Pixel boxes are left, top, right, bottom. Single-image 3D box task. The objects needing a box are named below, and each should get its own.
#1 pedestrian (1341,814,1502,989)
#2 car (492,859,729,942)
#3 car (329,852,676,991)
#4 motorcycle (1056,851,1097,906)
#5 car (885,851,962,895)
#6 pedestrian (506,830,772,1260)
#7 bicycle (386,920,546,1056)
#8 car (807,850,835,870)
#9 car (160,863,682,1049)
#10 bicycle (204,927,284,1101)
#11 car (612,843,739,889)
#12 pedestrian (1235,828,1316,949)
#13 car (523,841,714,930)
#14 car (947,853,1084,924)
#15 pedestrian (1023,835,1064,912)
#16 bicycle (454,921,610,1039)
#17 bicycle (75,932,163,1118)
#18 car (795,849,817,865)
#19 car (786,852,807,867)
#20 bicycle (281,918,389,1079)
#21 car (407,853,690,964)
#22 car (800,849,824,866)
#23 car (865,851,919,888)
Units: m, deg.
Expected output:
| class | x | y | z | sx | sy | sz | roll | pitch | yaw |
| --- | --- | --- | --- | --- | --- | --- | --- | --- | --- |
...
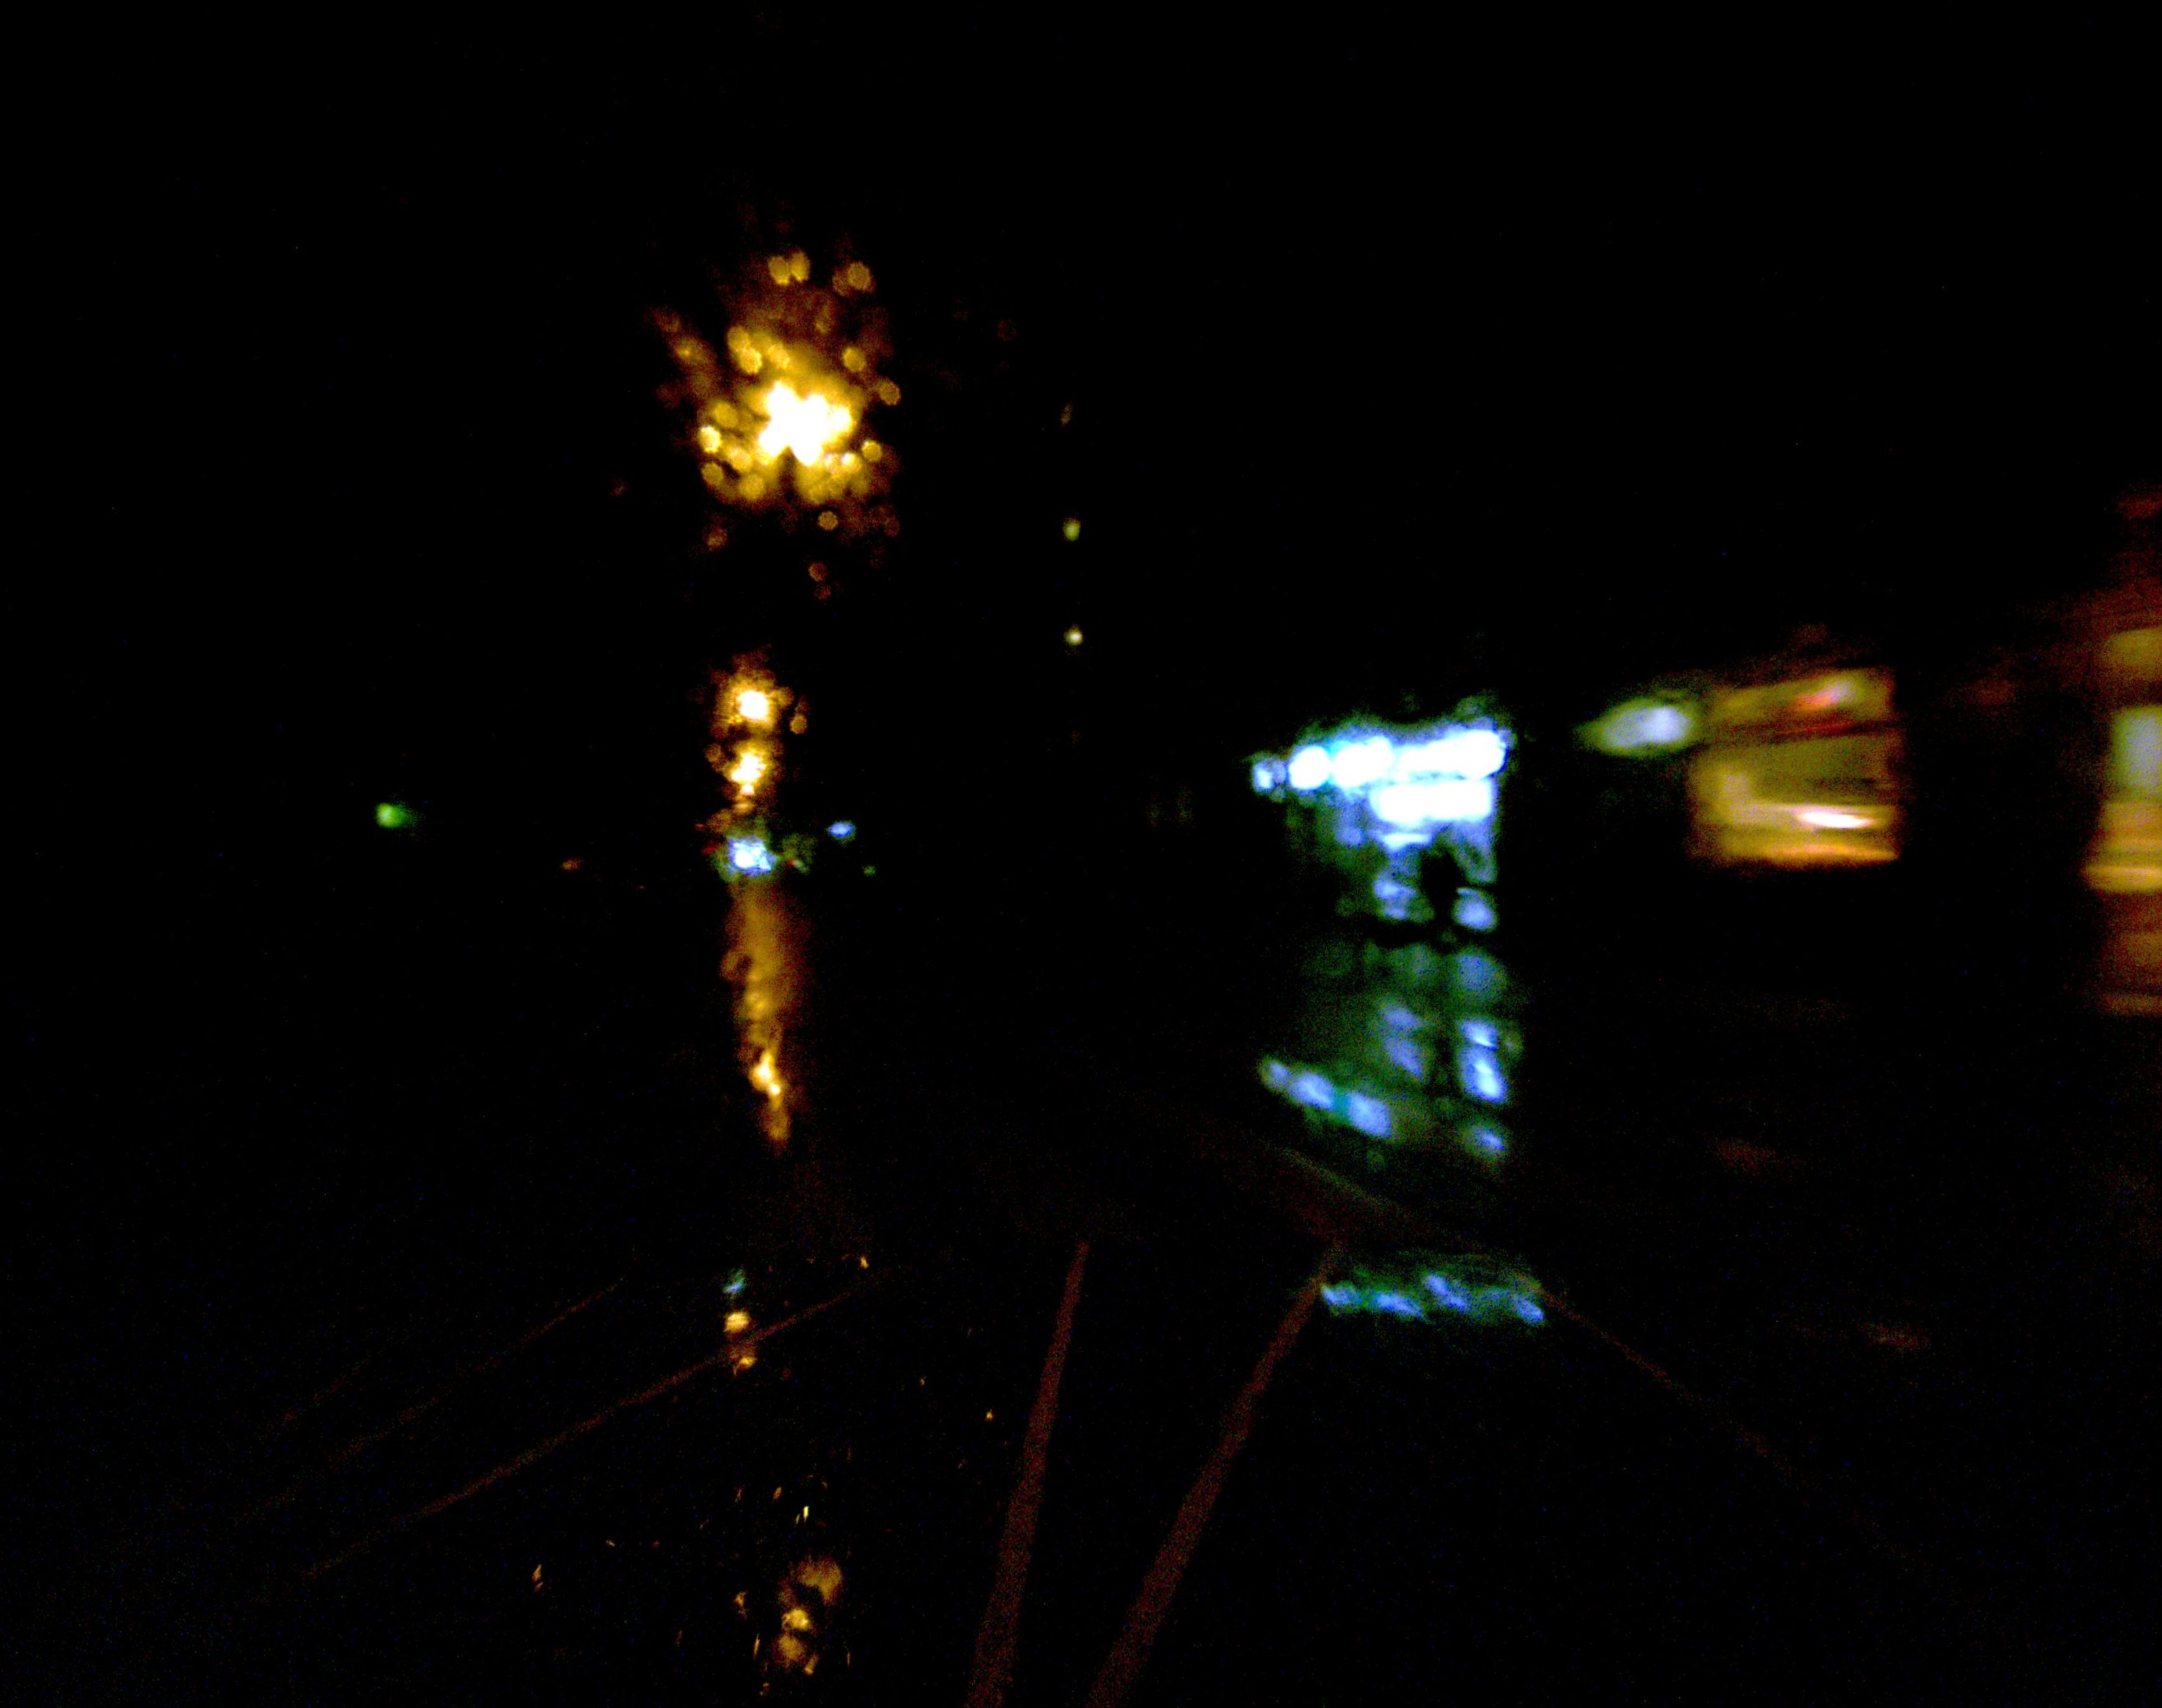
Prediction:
| class | x | y | z | sx | sy | sz | roll | pitch | yaw |
| --- | --- | --- | --- | --- | --- | --- | --- | --- | --- |
| pedestrian | 3.921 | 0.491 | 8.847 | 0.960 | 1.852 | 1.412 | -2 | 1 | -25 |
| car | -10.281 | 0.913 | 16.848 | 1.828 | 1.588 | 4.081 | 0 | 0 | 38 |
| car | -8.406 | 0.843 | 11.385 | 1.767 | 1.702 | 3.748 | 0 | 0 | 31 |
| motorcycle | -0.134 | 0.660 | 21.168 | 0.539 | 1.463 | 1.454 | -3 | 2 | -25 |
| car | -6.011 | 0.645 | 28.635 | 1.724 | 1.470 | 4.150 | -2 | 1 | -27 |
| pedestrian | -1.970 | 0.788 | 3.508 | 0.829 | 1.761 | 0.599 | -3 | 2 | -12 |
| bicycle | -5.549 | 1.165 | 6.830 | 1.642 | 1.020 | 0.336 | 2 | 1 | 21 |
| car | -21.752 | 0.483 | 63.482 | 1.855 | 1.470 | 3.727 | -3 | 2 | -24 |
| car | -7.199 | 0.903 | 8.747 | 1.766 | 1.564 | 4.272 | 0 | 0 | 38 |
| bicycle | -6.468 | 1.157 | 5.852 | 1.641 | 1.086 | 0.337 | -1 | 0 | 40 |
| car | -18.503 | 0.508 | 34.870 | 1.974 | 1.968 | 4.722 | 0 | 0 | 37 |
| pedestrian | 3.089 | 0.519 | 12.130 | 0.677 | 1.822 | 1.075 | -3 | 2 | -22 |
| car | -11.521 | 0.723 | 19.161 | 1.717 | 2.016 | 3.748 | 0 | 0 | 31 |
| car | -1.826 | 0.735 | 19.161 | 1.855 | 1.470 | 5.020 | -2 | 1 | -24 |
| pedestrian | -1.127 | 0.567 | 22.697 | 0.802 | 2.228 | 1.114 | -2 | 1 | -25 |
| bicycle | -5.309 | 1.183 | 7.333 | 1.642 | 1.020 | 0.336 | -1 | 0 | 19 |
| bicycle | -6.829 | 1.142 | 5.423 | 1.641 | 1.020 | 0.337 | 1 | 1 | 40 |
| car | -28.912 | 0.285 | 79.846 | 1.855 | 1.571 | 3.727 | -3 | 2 | -24 |
| car | -32.238 | 0.595 | 86.073 | 1.855 | 1.571 | 3.727 | -3 | 2 | -24 |
| bicycle | -6.194 | 1.132 | 6.288 | 1.641 | 1.021 | 0.336 | 4 | 5 | 36 |
| car | -9.412 | 0.843 | 13.731 | 1.744 | 1.702 | 3.801 | 0 | 0 | 31 |
| car | -26.339 | 0.307 | 74.242 | 1.855 | 1.571 | 3.727 | -3 | 2 | -24 |
| car | -8.353 | 0.628 | 33.390 | 1.723 | 1.470 | 3.778 | -3 | 2 | -22 |
